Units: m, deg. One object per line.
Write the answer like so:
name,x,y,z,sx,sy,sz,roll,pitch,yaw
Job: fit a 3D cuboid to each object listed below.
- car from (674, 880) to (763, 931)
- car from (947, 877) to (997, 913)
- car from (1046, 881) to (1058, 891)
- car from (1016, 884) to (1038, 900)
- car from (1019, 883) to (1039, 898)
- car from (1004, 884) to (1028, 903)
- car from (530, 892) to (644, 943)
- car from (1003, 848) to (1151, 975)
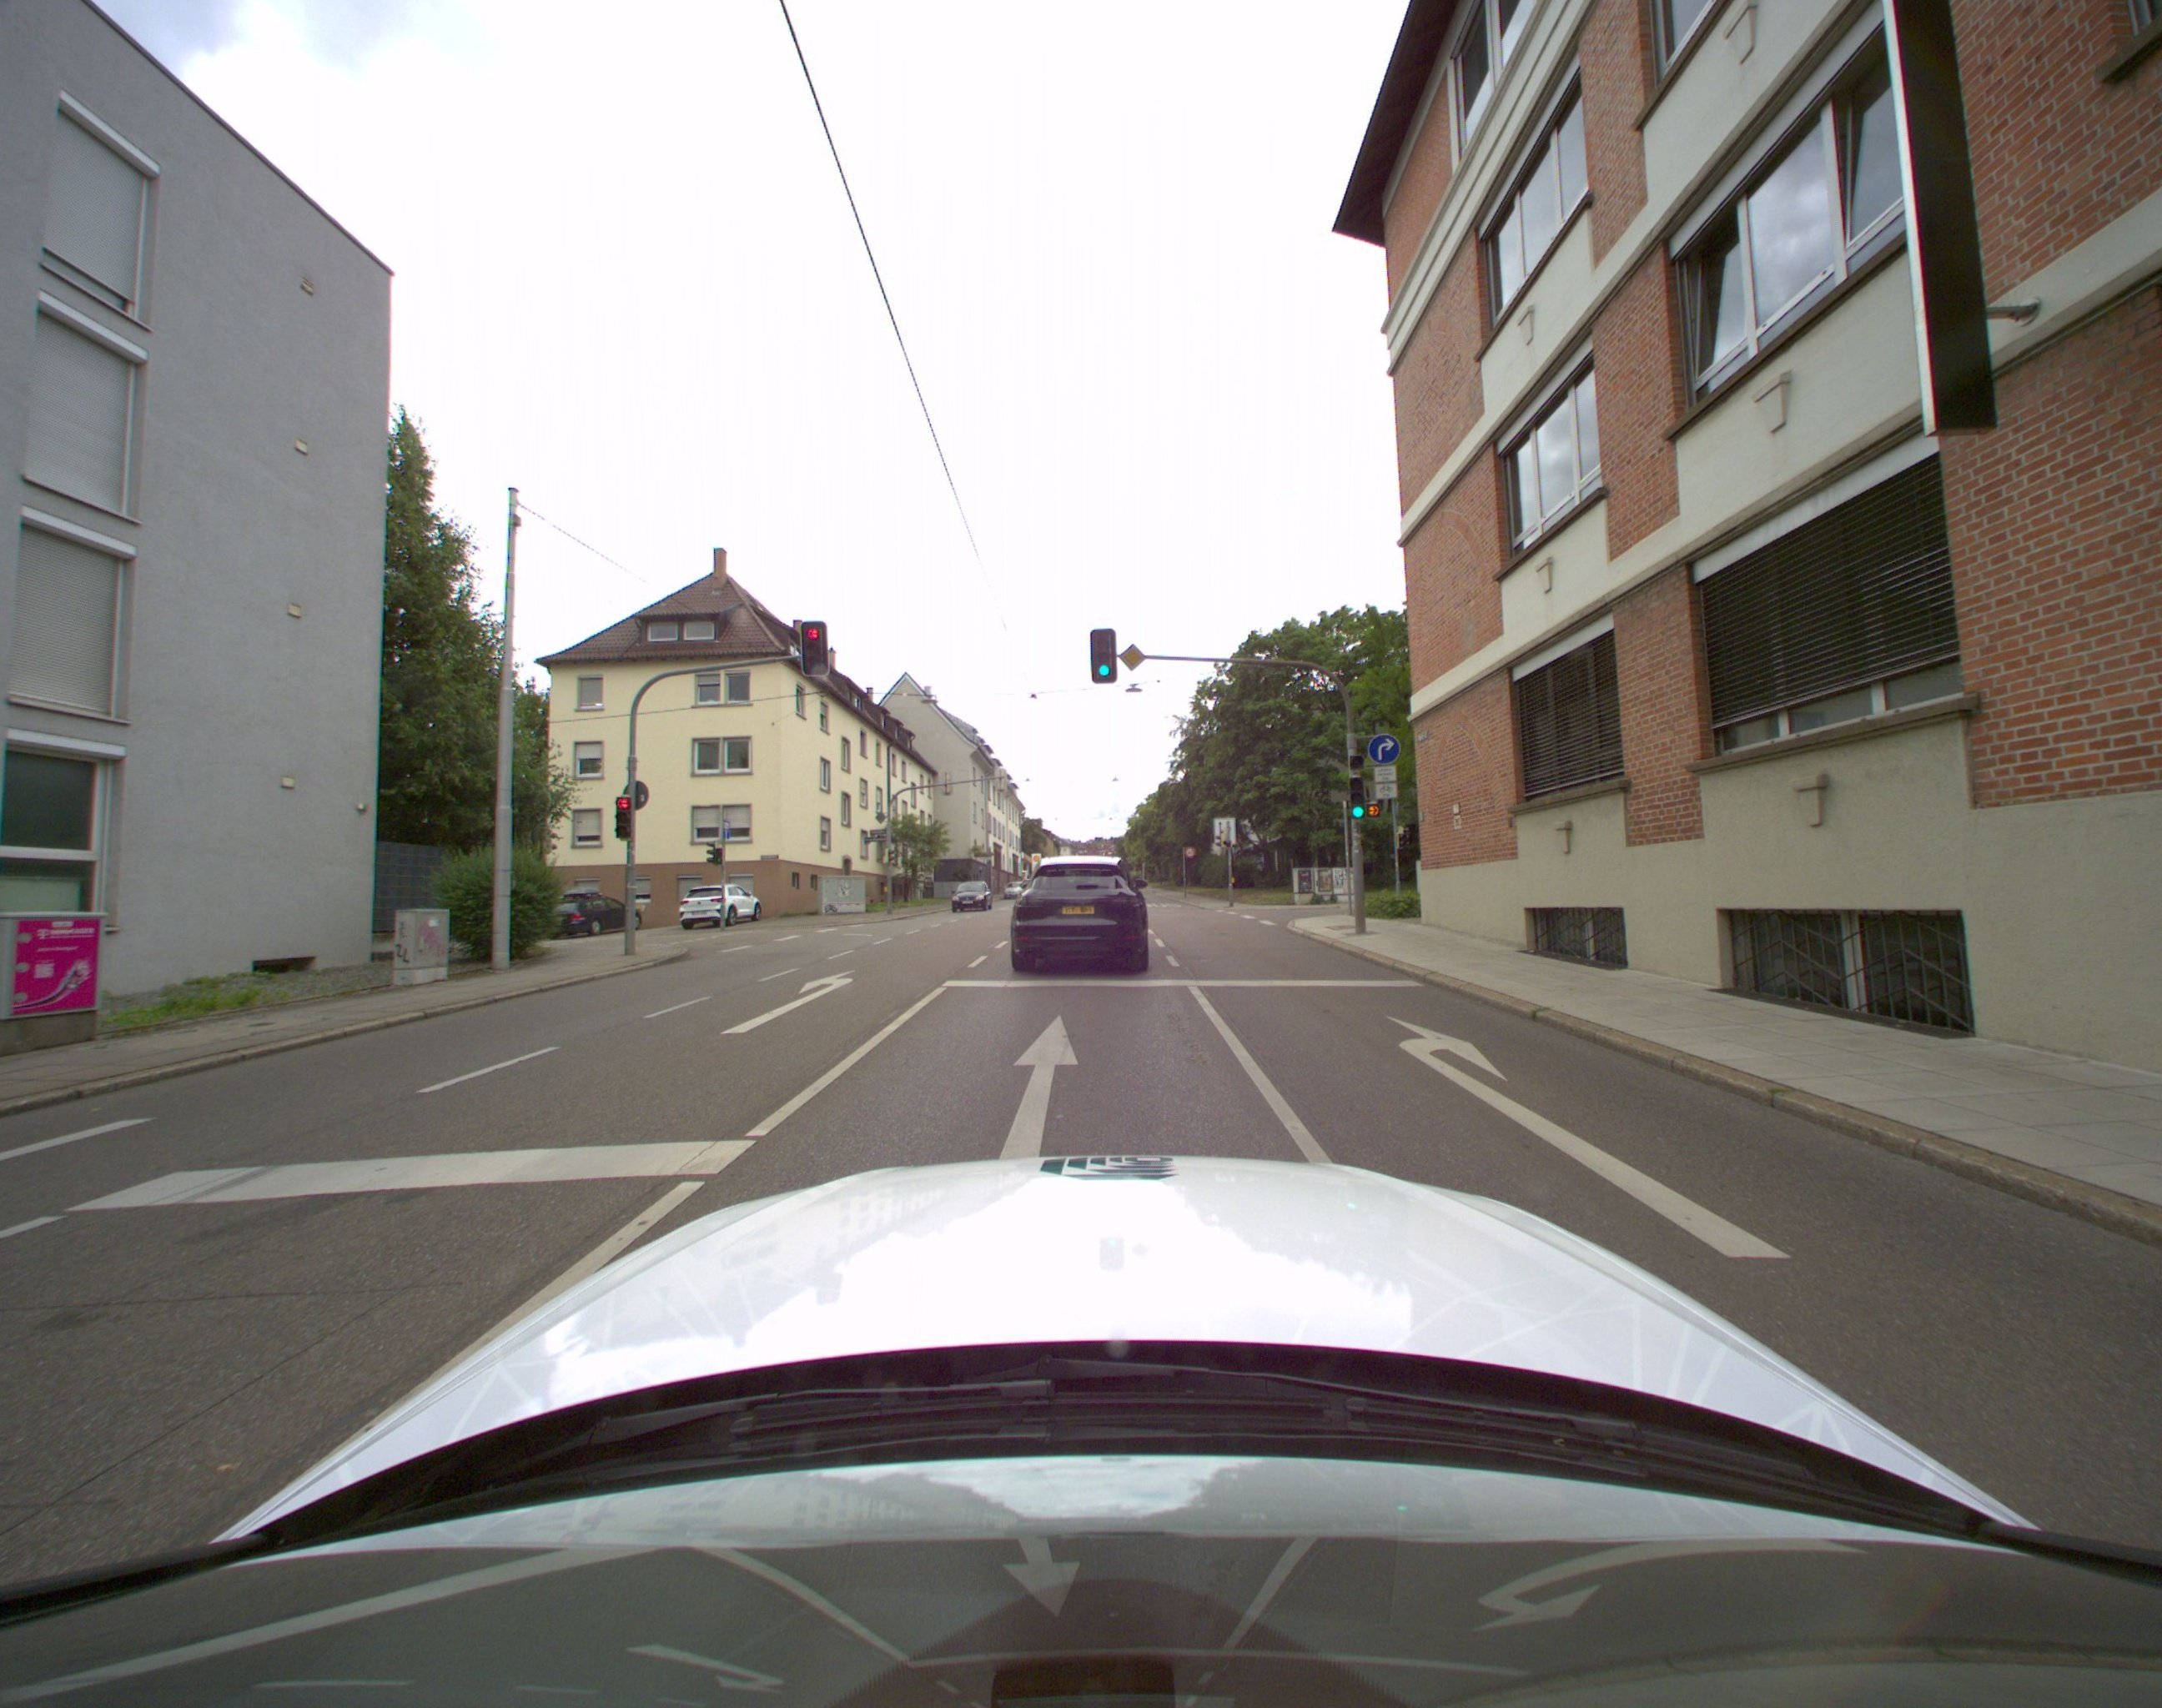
car,-13.680,1.893,30.983,1.666,1.662,3.996,-4,-1,-3
car,-5.310,1.972,40.025,1.657,1.519,3.741,-5,-1,2
car,-4.378,4.841,122.769,1.664,1.362,3.999,-1,-1,0
car,-4.876,3.441,74.177,1.664,1.362,3.999,-1,-1,0
car,-5.063,3.558,79.894,1.664,1.362,3.999,-1,-1,0
car,-5.293,3.193,66.457,1.665,1.362,3.998,-1,-1,-1
car,-18.640,2.346,30.954,1.664,1.546,4.102,-4,-1,2
car,0.012,0.805,12.971,1.986,1.697,4.001,0,-1,2
